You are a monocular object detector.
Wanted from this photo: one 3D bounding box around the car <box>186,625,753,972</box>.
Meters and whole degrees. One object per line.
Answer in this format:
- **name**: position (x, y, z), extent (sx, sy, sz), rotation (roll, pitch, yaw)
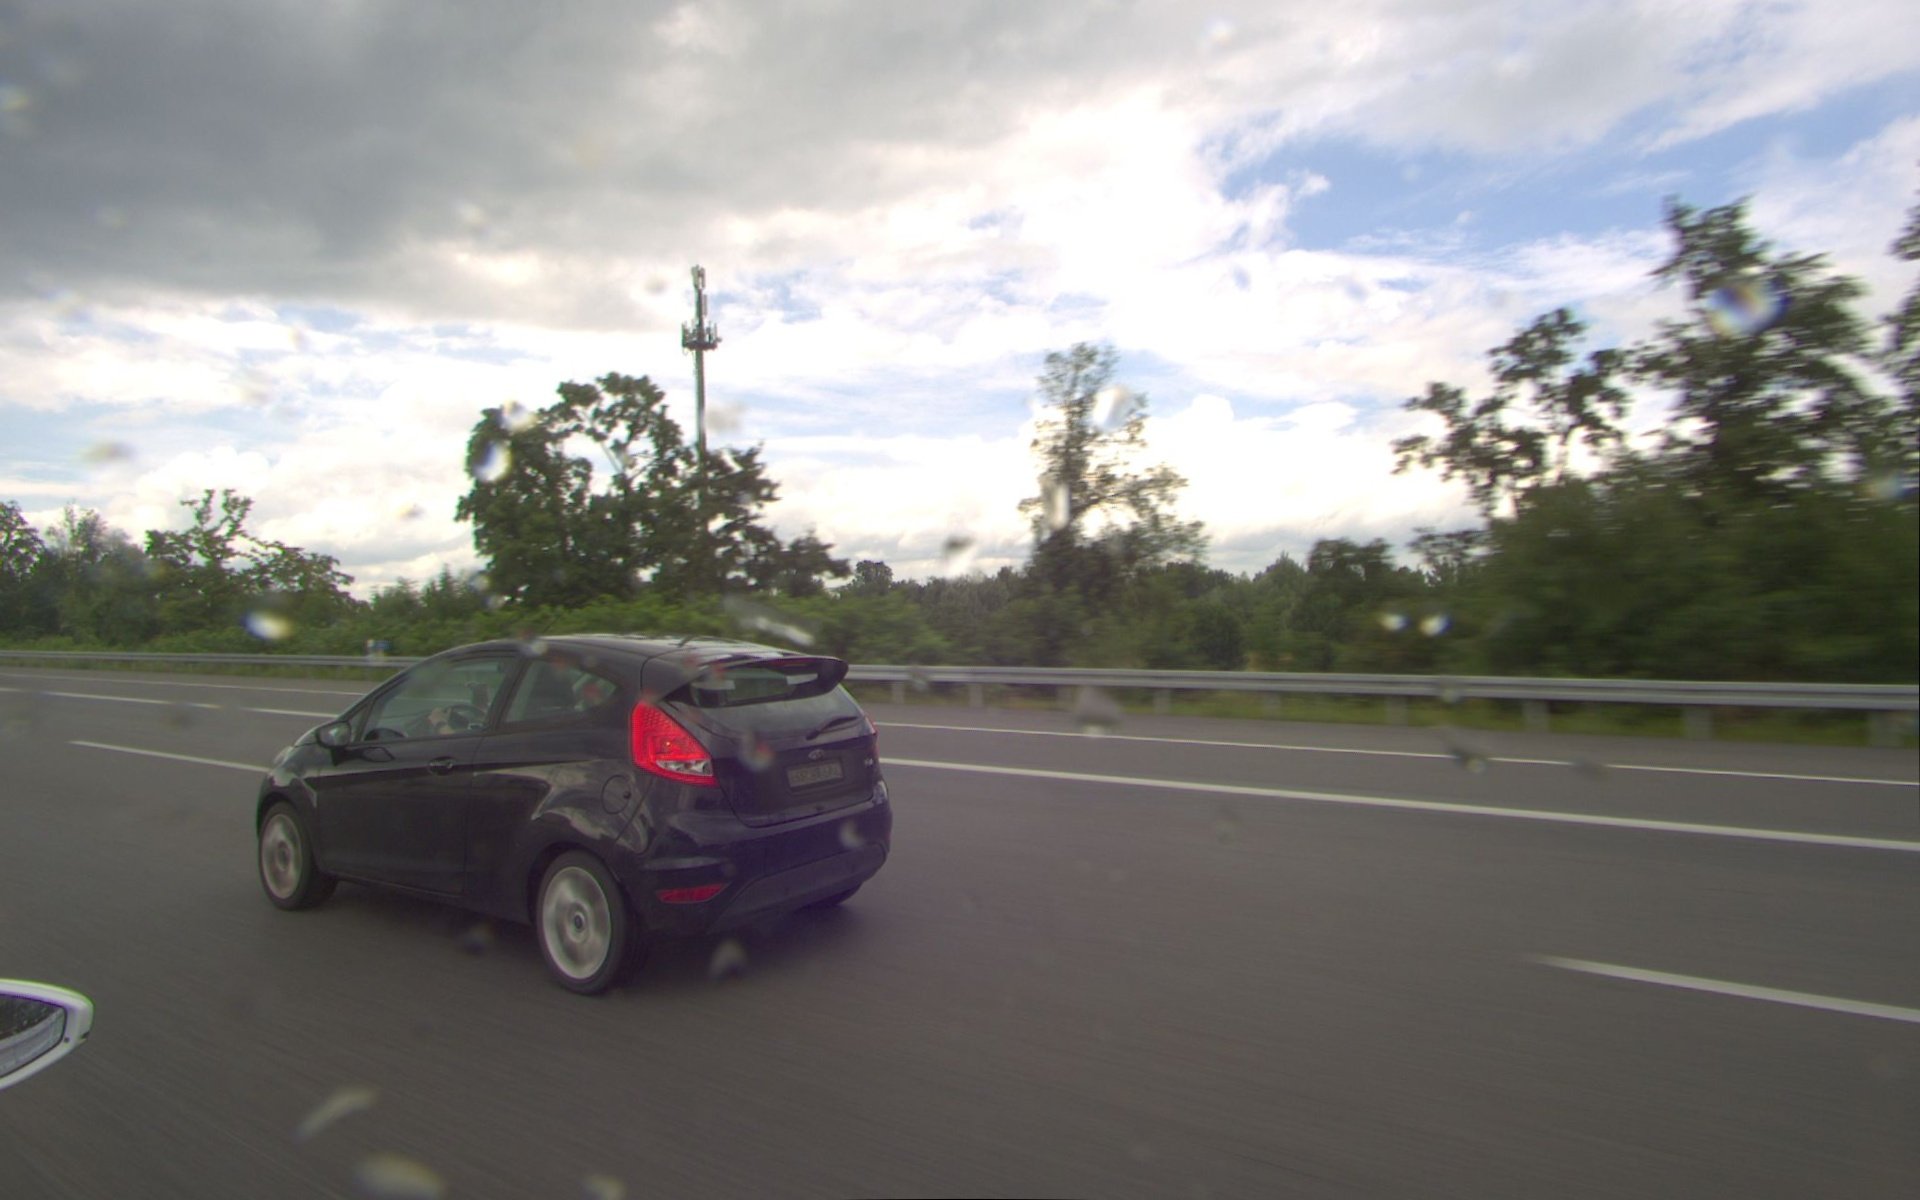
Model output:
- **car**: position (-2.826, 0.881, 5.656), extent (3.118, 1.460, 1.445), rotation (-1, -2, 32)
